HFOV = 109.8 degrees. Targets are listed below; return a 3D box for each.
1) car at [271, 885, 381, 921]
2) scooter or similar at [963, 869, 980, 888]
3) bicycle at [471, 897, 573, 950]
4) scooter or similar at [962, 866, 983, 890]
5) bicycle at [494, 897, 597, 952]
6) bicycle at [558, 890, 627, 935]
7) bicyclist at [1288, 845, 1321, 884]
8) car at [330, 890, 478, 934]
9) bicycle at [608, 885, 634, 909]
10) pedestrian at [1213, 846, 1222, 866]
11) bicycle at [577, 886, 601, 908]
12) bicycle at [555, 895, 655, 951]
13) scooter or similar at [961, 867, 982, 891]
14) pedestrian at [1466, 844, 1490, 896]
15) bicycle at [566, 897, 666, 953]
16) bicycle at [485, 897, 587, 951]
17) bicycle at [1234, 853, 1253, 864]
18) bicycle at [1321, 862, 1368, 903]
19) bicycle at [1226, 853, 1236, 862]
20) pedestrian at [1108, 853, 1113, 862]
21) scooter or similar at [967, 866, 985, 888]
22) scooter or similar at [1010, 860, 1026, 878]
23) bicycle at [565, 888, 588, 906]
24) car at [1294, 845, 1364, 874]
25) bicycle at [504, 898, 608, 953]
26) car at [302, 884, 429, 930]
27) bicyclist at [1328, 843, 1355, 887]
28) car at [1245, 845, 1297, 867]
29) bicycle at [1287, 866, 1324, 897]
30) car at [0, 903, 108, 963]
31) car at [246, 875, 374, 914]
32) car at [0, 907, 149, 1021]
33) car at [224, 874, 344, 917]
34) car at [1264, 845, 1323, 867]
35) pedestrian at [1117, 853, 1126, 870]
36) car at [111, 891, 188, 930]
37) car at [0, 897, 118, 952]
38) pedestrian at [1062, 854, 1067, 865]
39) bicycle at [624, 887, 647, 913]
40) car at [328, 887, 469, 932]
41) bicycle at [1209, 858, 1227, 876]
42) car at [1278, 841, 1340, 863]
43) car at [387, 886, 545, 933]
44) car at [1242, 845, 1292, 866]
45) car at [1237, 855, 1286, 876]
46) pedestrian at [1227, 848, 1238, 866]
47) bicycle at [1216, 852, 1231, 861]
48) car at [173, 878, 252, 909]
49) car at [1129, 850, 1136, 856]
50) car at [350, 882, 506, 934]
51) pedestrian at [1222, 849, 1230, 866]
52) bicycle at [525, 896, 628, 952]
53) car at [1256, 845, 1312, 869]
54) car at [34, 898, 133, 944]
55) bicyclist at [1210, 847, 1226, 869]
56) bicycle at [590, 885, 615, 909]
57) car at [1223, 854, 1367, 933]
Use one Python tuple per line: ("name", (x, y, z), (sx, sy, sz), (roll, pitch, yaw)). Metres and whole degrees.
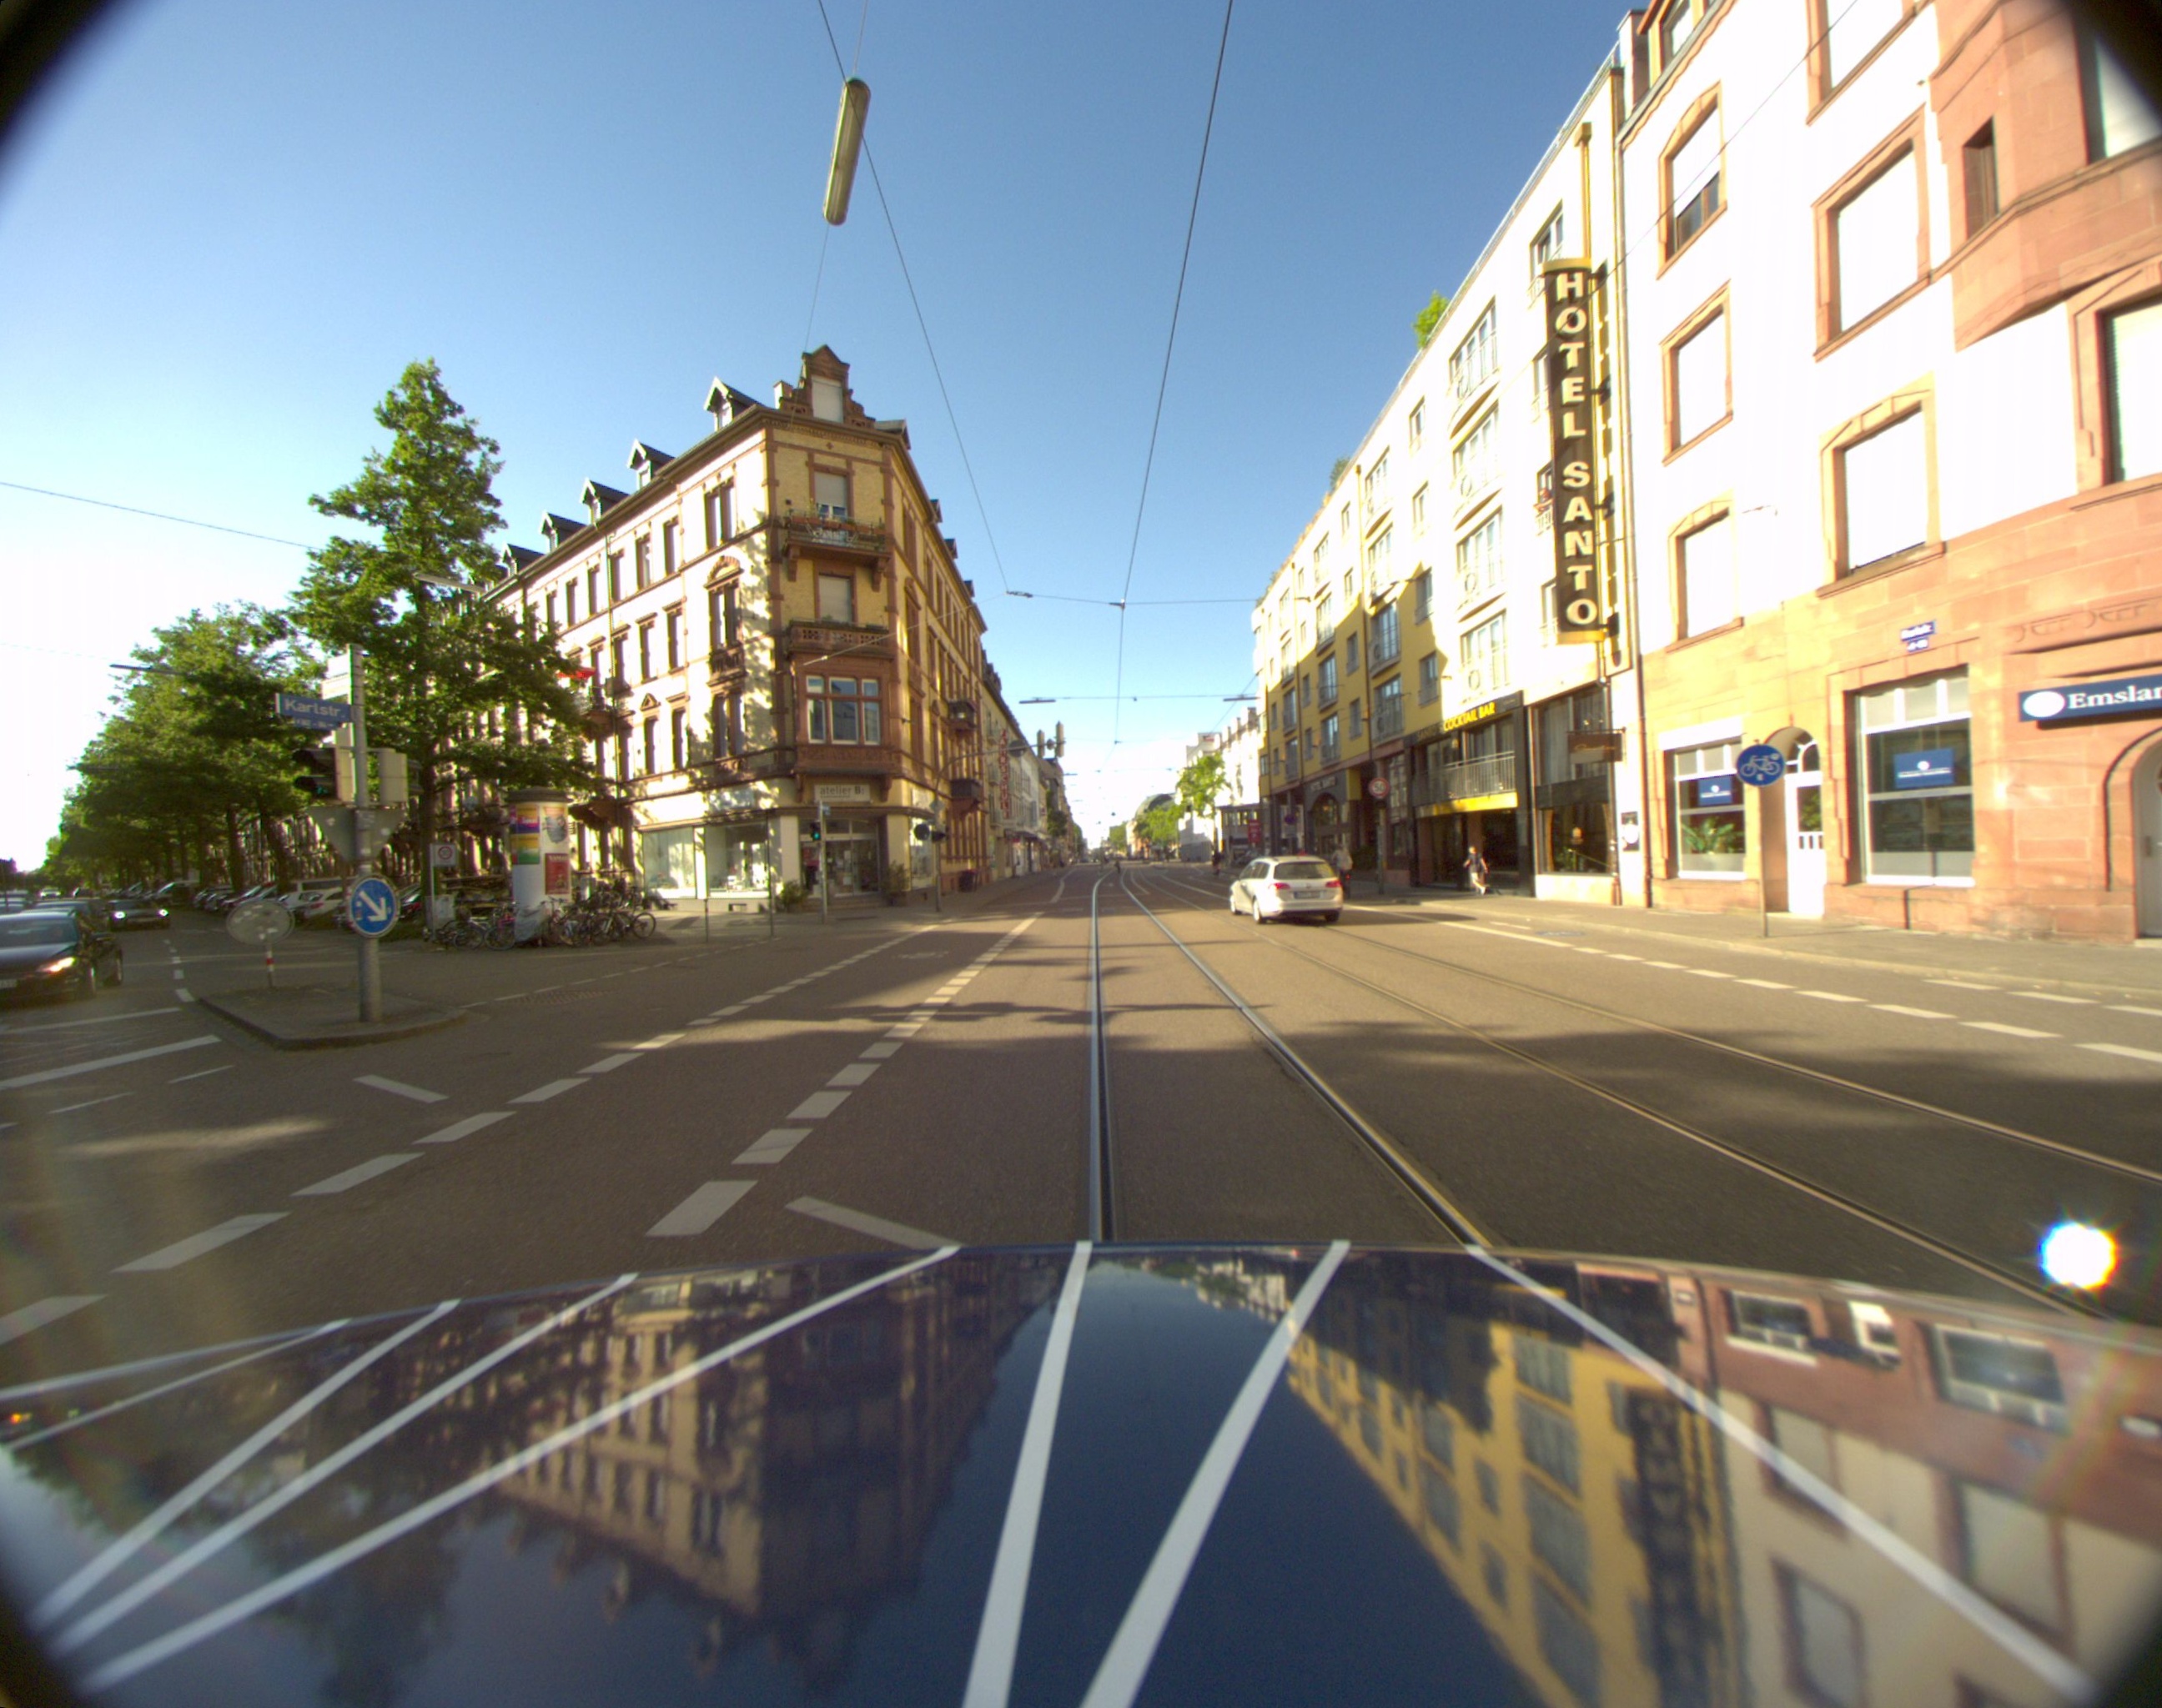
("car", (-38.616, 2.466, 38.932), (1.547, 1.516, 3.691), (-2, 0, 32))
("scooter or similar", (-5.607, 1.248, 38.911), (0.792, 0.952, 0.680), (2, 0, -1))
("bicycle", (-14.999, 1.848, 20.474), (0.617, 1.136, 2.122), (-2, 2, 23))
("scooter or similar", (-5.423, 1.216, 38.143), (0.935, 1.142, 0.650), (2, 0, -1))
("bicycle", (-13.936, 1.809, 19.864), (0.617, 1.136, 2.122), (-2, 2, 23))
("bicycle", (-14.456, 1.726, 22.542), (0.543, 1.136, 1.619), (-2, 2, 23))
("bicyclist", (8.227, 0.374, 28.066), (0.737, 1.373, 1.468), (-2, 0, 0))
("car", (-26.328, 2.222, 29.690), (1.547, 1.349, 4.007), (-2, 0, 31))
("bicycle", (-18.987, 1.768, 31.348), (1.283, 0.951, 0.398), (-2, 1, 36))
("pedestrian", (13.077, 0.196, 72.804), (0.639, 1.935, 0.709), (-2, 1, 0))
("bicycle", (-21.477, 1.875, 33.184), (1.342, 0.951, 0.398), (-2, 1, 36))
("bicycle", (-12.074, 1.725, 19.372), (0.617, 1.136, 2.123), (-2, 2, 23))
("scooter or similar", (-5.351, 1.216, 37.072), (0.899, 1.142, 0.547), (2, 0, -1))
("pedestrian", (11.022, 0.430, 21.088), (0.404, 1.402, 0.516), (-3, 1, 9))
("bicycle", (-11.662, 1.741, 19.148), (0.617, 1.136, 2.123), (-2, 2, 23))
("bicycle", (-14.457, 1.834, 20.225), (0.617, 1.136, 2.122), (-2, 2, 23))
("bicycle", (17.019, 0.491, 79.427), (1.875, 1.030, 0.426), (-2, 0, 26))
("bicycle", (8.537, 0.896, 24.721), (0.732, 1.176, 2.061), (-3, 1, 0))
("bicycle", (16.208, 0.379, 82.170), (0.525, 1.030, 1.878), (-2, 0, -6))
("pedestrian", (5.185, 0.598, 132.759), (0.716, 1.635, 0.400), (-2, 1, 4))
("scooter or similar", (-5.567, 1.203, 40.306), (0.792, 1.142, 0.790), (2, 0, -1))
("scooter or similar", (-5.061, 1.228, 61.112), (0.410, 1.273, 1.287), (22, 0, 17))
("bicycle", (-22.669, 1.920, 34.162), (1.342, 0.793, 0.398), (-2, 1, 36))
("car", (17.139, 0.376, 52.684), (4.243, 1.801, 1.785), (-3, 1, 2))
("bicycle", (-13.471, 1.805, 19.570), (0.617, 1.136, 2.122), (-2, 2, 23))
("car", (-32.337, 2.362, 34.439), (1.517, 1.747, 3.871), (-2, 0, 31))
("bicyclist", (8.491, 0.357, 24.772), (0.591, 1.368, 0.679), (-2, 1, -1))
("car", (17.205, 0.145, 68.801), (4.243, 1.801, 1.785), (-2, 0, 2))
("bicycle", (8.241, 0.985, 27.952), (0.732, 1.059, 2.061), (0, 0, 0))
("car", (-32.003, 2.391, 23.754), (4.238, 1.490, 1.848), (-2, 1, 38))
("car", (-42.195, 2.173, 41.701), (1.547, 1.822, 4.680), (-2, 0, 36))
("car", (-17.513, 1.783, 12.697), (1.848, 1.490, 4.239), (-4, 1, -43))
("car", (-46.645, 2.371, 44.584), (1.842, 2.189, 4.481), (-2, 0, 32))
("car", (17.071, 0.174, 61.218), (4.243, 1.600, 1.785), (-2, 0, 2))
("pedestrian", (3.711, 0.710, 70.057), (0.781, 1.551, 0.650), (-2, 1, 1))
("car", (-44.269, 2.637, 36.099), (4.239, 1.596, 1.848), (-2, 1, 34))
("car", (-36.143, 2.433, 26.998), (4.238, 1.596, 1.848), (-2, 1, 45))
("pedestrian", (-2.759, 0.915, 124.955), (0.695, 1.680, 0.688), (-2, 1, 1))
("bicycle", (-17.740, 1.831, 30.251), (0.996, 0.998, 0.398), (-2, 1, 36))
("car", (-27.978, 2.229, 31.290), (1.547, 1.516, 4.007), (-2, 0, 31))
("bicycle", (8.776, 0.834, 48.588), (0.732, 1.082, 2.061), (-2, 0, 0))
("car", (17.521, -0.197, 58.436), (4.244, 1.539, 1.785), (-1, 2, 1))
("car", (-22.104, 1.953, 27.456), (1.820, 1.363, 4.007), (-2, 0, 31))
("car", (17.345, 0.133, 71.072), (4.244, 1.801, 1.785), (-2, 0, 1))
("car", (17.555, 1.074, 73.925), (4.244, 1.753, 1.785), (-3, 0, 1))
("pedestrian", (14.589, 0.295, 73.126), (0.715, 1.754, 0.779), (-2, 1, -7))
("bicycle", (18.693, 0.280, 99.788), (1.876, 1.071, 0.465), (-2, 1, 9))
("car", (-71.635, 3.206, 62.697), (1.547, 2.308, 4.007), (-2, 0, 32))
("car", (17.801, -0.296, 263.226), (1.884, 2.001, 4.000), (-4, -1, 0))
("car", (-24.278, 1.961, 28.407), (1.820, 1.592, 4.007), (-2, 0, 31))
("pedestrian", (13.812, 0.322, 72.483), (0.573, 1.608, 0.499), (-2, 1, 0))
("bicycle", (-12.768, 1.751, 19.309), (0.617, 1.136, 2.122), (-2, 2, 23))
("car", (16.922, 0.240, 63.501), (4.244, 1.802, 1.784), (-1, 2, 1))
("car", (-39.598, 2.596, 30.264), (4.239, 1.595, 1.849), (-3, -1, 45))
("bicyclist", (8.740, 0.243, 48.561), (0.726, 1.373, 1.227), (-2, 0, 0))
("bicycle", (-20.177, 1.814, 32.028), (1.283, 0.951, 0.398), (-2, 1, 36))
("car", (4.625, 0.785, 17.151), (1.990, 1.493, 4.308), (-2, 0, 0))
